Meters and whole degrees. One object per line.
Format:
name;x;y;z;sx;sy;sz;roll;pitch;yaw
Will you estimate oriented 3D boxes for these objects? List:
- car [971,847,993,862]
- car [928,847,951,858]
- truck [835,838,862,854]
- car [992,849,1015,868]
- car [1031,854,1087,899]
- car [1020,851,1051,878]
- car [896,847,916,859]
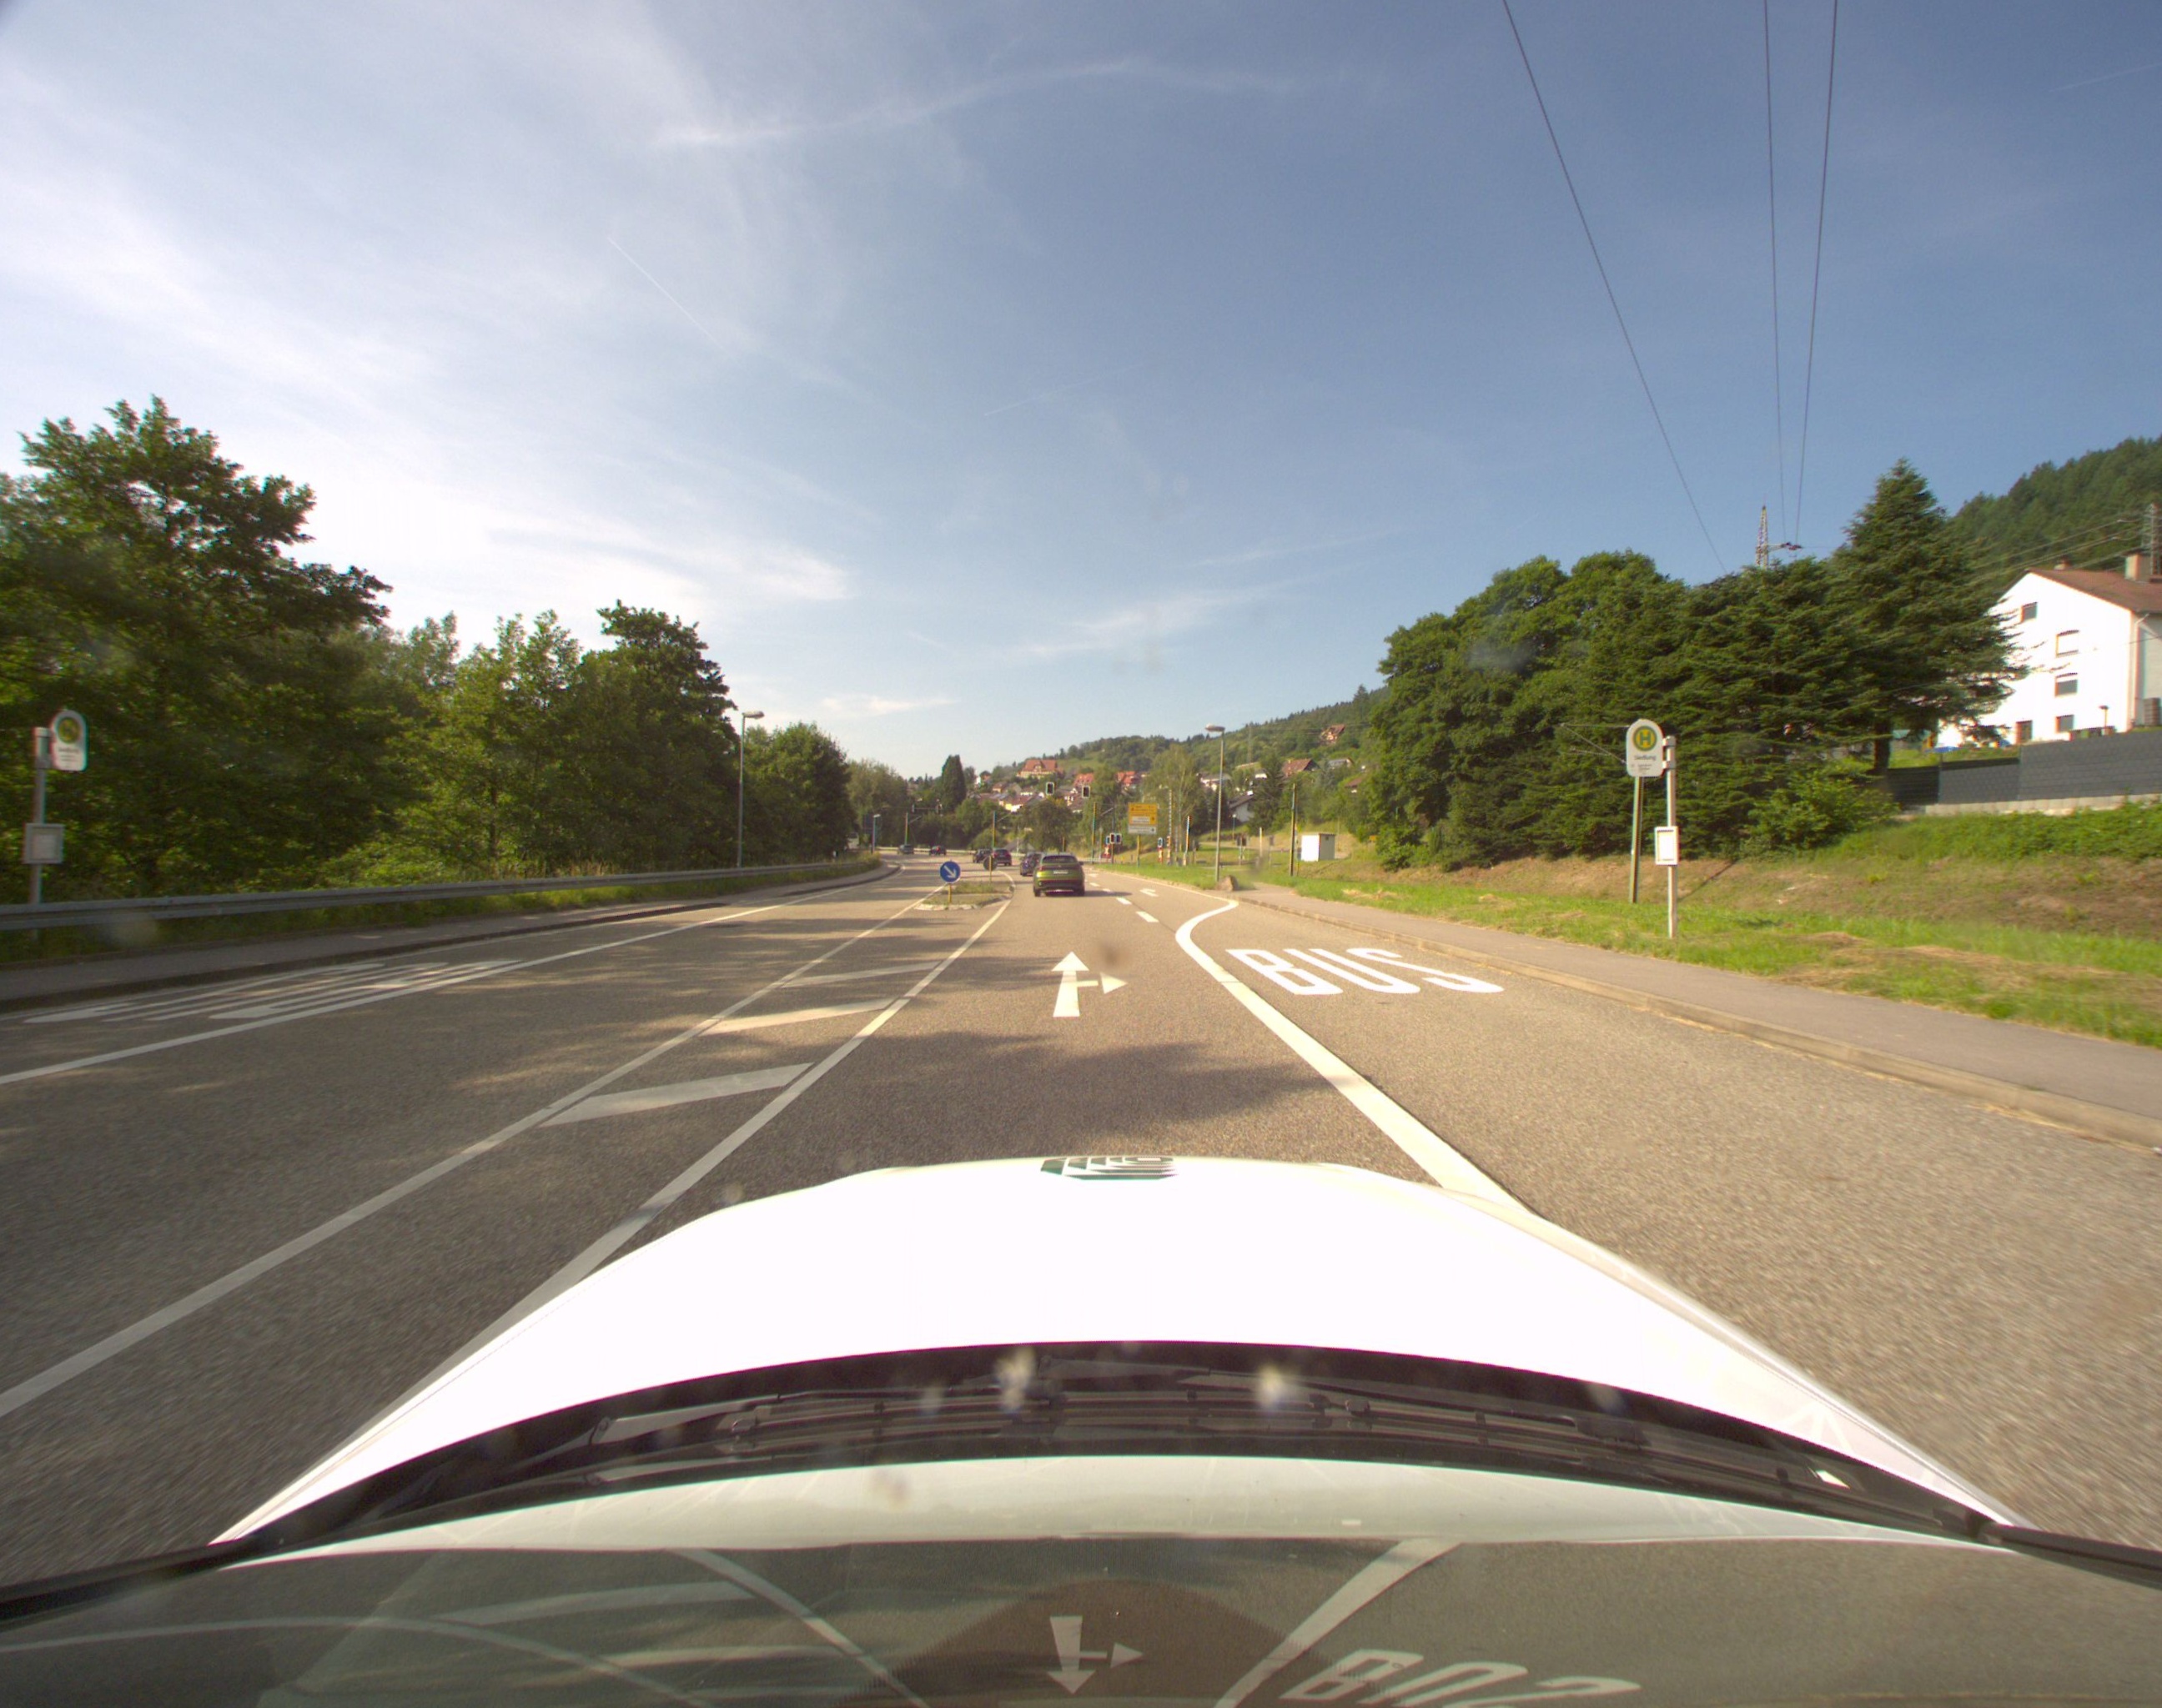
car;-10.801;0.025;88.958;1.852;1.526;3.644;-2;1;-15
car;-22.447;-0.281;129.120;2.008;1.745;3.957;1;0;-35
truck;-45.283;-1.502;158.559;2.735;3.084;6.035;1;0;-43
car;-7.185;0.392;75.016;1.879;1.686;3.989;-1;0;-8
car;-0.834;0.734;28.858;1.712;1.455;3.992;0;0;-5
car;-2.781;0.607;49.052;1.665;1.559;3.992;0;0;-5
car;-29.045;-0.165;135.218;2.077;1.811;3.961;0;1;-31
